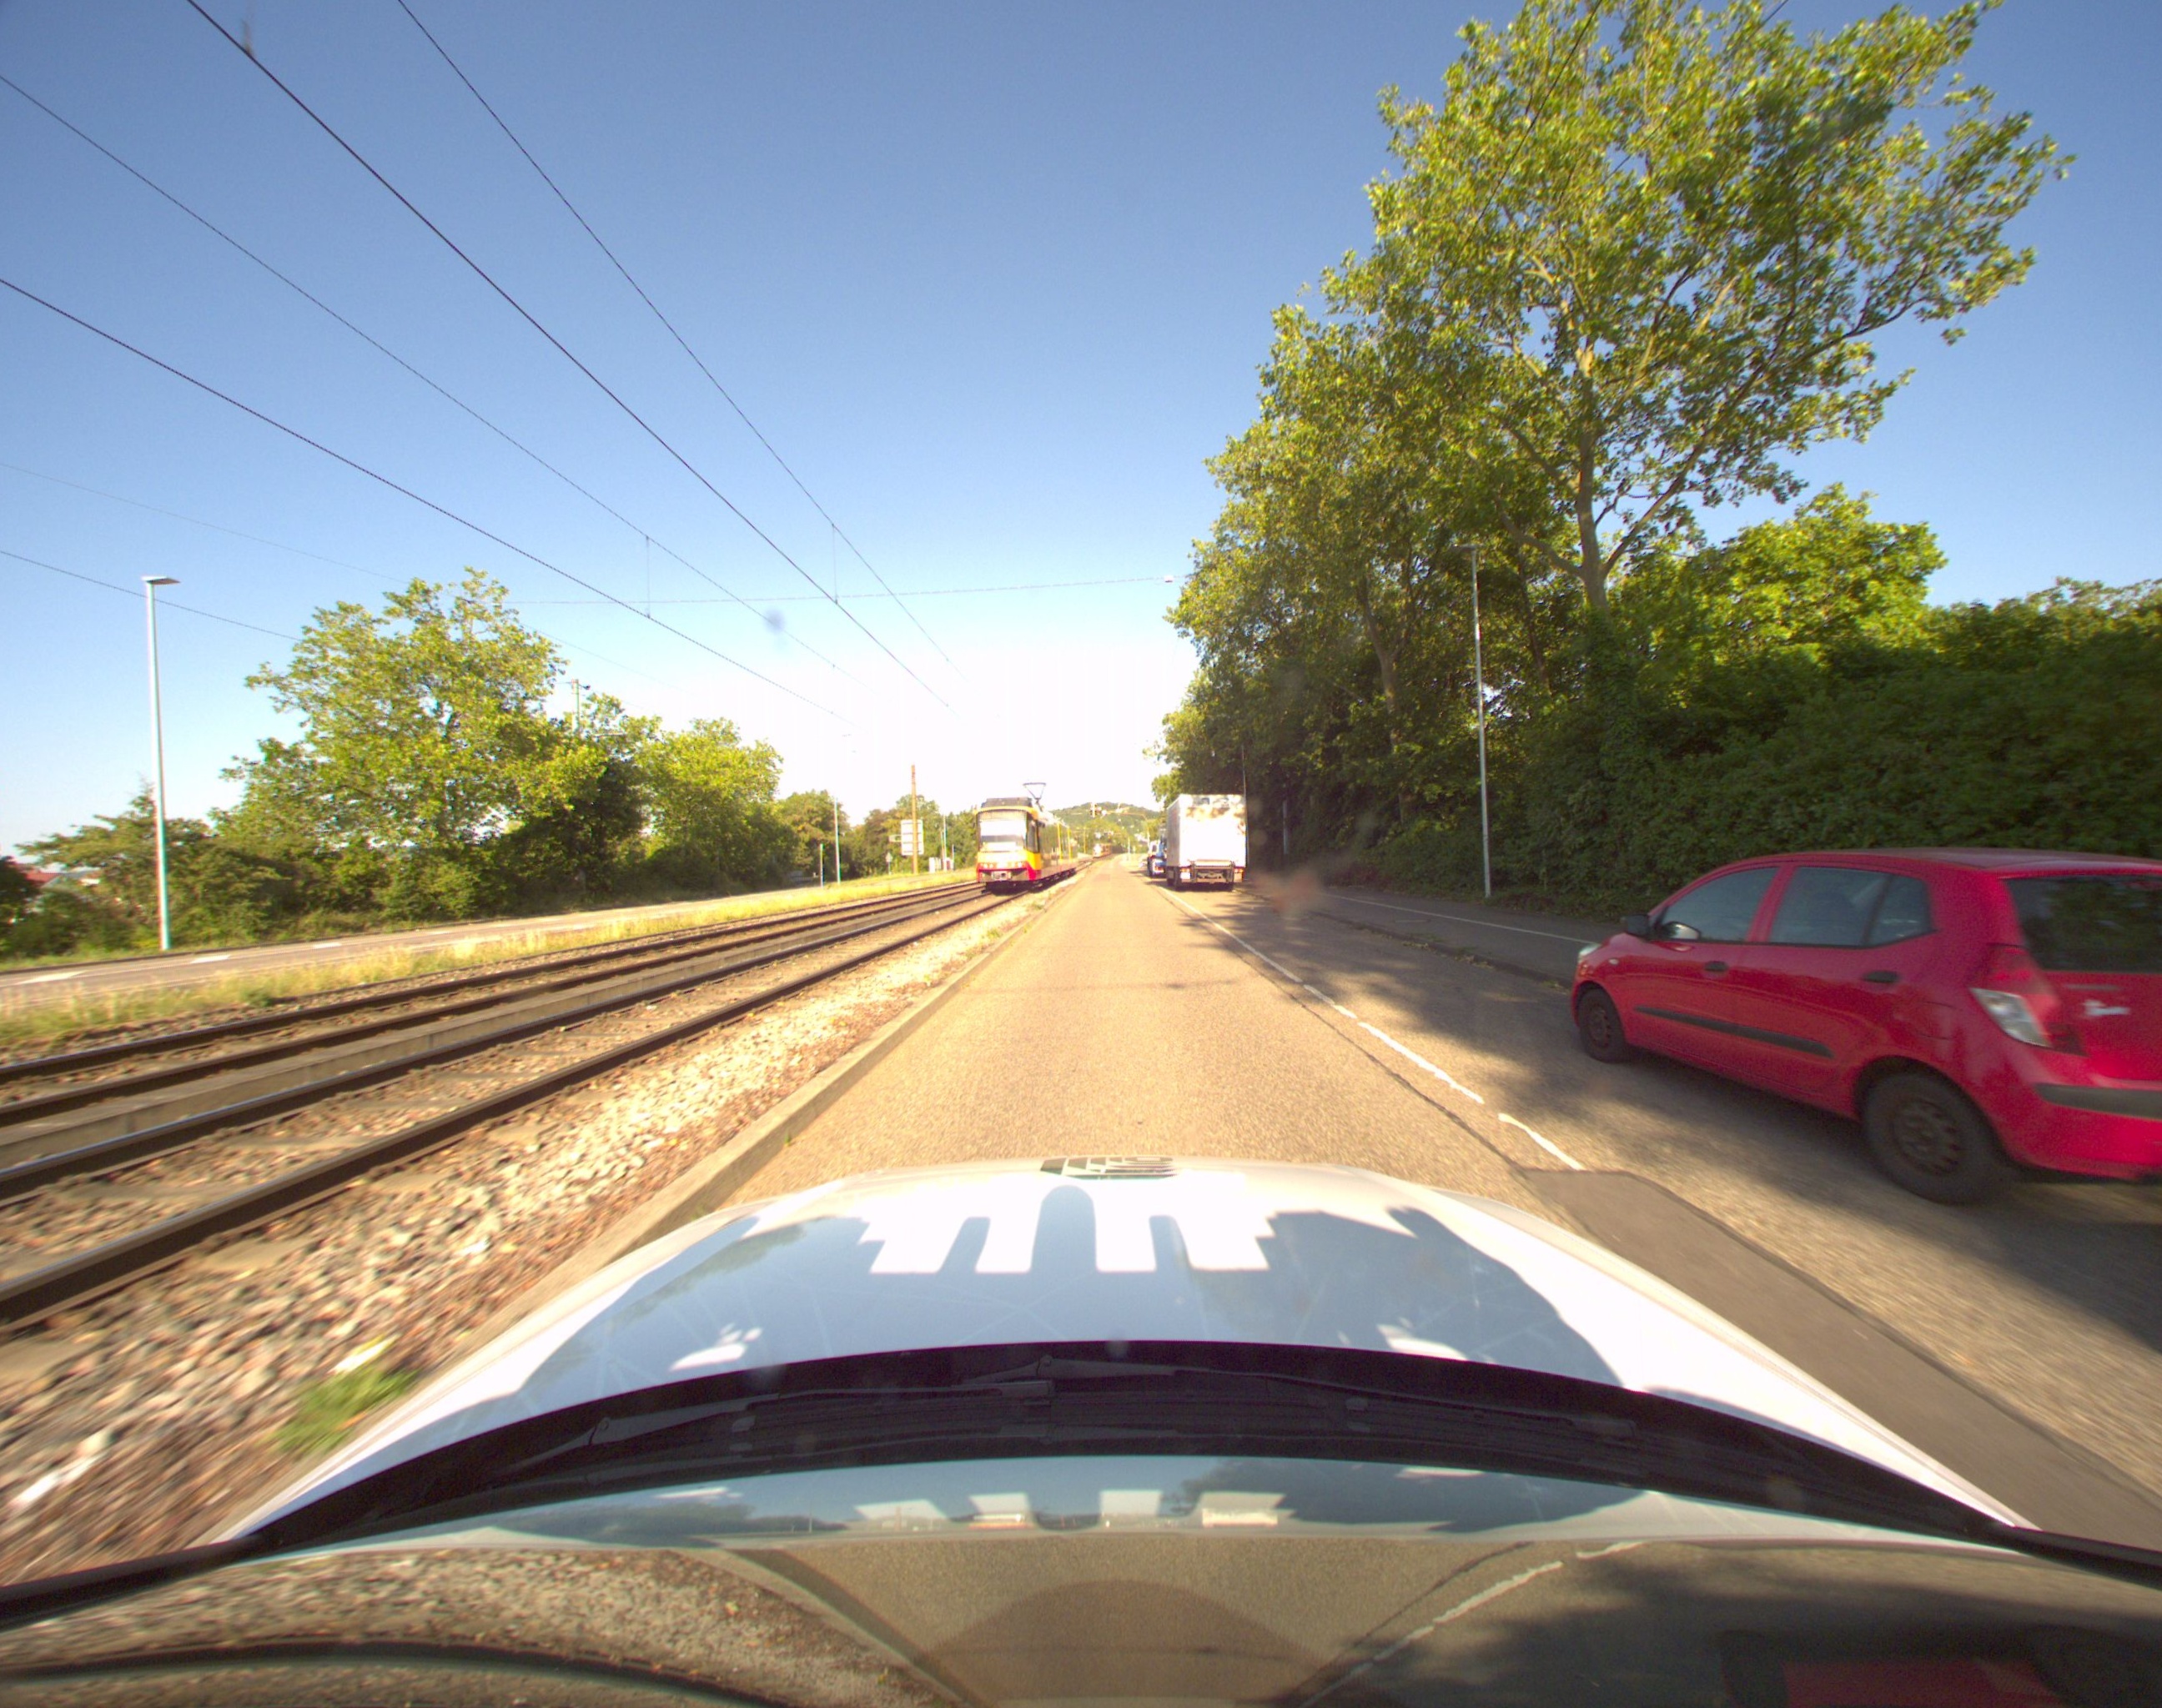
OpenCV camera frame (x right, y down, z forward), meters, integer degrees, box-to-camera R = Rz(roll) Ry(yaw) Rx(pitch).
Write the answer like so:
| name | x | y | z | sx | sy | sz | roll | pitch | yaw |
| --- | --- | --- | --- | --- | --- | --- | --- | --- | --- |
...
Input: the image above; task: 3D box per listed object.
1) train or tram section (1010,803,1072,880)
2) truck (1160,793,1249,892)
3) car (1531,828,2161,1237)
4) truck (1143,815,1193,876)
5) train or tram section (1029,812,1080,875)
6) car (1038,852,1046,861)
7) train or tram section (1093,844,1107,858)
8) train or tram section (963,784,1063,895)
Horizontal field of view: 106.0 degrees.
| name | x | y | z | sx | sy | sz | roll | pitch | yaw |
| --- | --- | --- | --- | --- | --- | --- | --- | --- | --- |
| train or tram section | -2.230 | -0.661 | 49.460 | 2.684 | 4.089 | 9.916 | -3 | 0 | 2 |
| truck | 5.217 | -0.444 | 36.260 | 2.731 | 3.783 | 10.093 | 0 | 0 | 2 |
| car | 4.468 | 0.682 | 4.890 | 1.634 | 1.537 | 3.642 | 1 | 0 | 2 |
| truck | 5.783 | -0.514 | 55.579 | 2.707 | 3.783 | 9.765 | 0 | 0 | 2 |
| train or tram section | -1.762 | -0.679 | 60.814 | 2.709 | 4.089 | 12.820 | -3 | 0 | 2 |
| car | -8.803 | 0.548 | 185.088 | 1.719 | 2.014 | 3.998 | 0 | -1 | -1 |
| train or tram section | 5.110 | -0.828 | 216.626 | 2.631 | 3.567 | 10.849 | -2 | 0 | 6 |
| train or tram section | -2.745 | -0.568 | 37.680 | 2.710 | 4.091 | 13.624 | -3 | 0 | 3 |
